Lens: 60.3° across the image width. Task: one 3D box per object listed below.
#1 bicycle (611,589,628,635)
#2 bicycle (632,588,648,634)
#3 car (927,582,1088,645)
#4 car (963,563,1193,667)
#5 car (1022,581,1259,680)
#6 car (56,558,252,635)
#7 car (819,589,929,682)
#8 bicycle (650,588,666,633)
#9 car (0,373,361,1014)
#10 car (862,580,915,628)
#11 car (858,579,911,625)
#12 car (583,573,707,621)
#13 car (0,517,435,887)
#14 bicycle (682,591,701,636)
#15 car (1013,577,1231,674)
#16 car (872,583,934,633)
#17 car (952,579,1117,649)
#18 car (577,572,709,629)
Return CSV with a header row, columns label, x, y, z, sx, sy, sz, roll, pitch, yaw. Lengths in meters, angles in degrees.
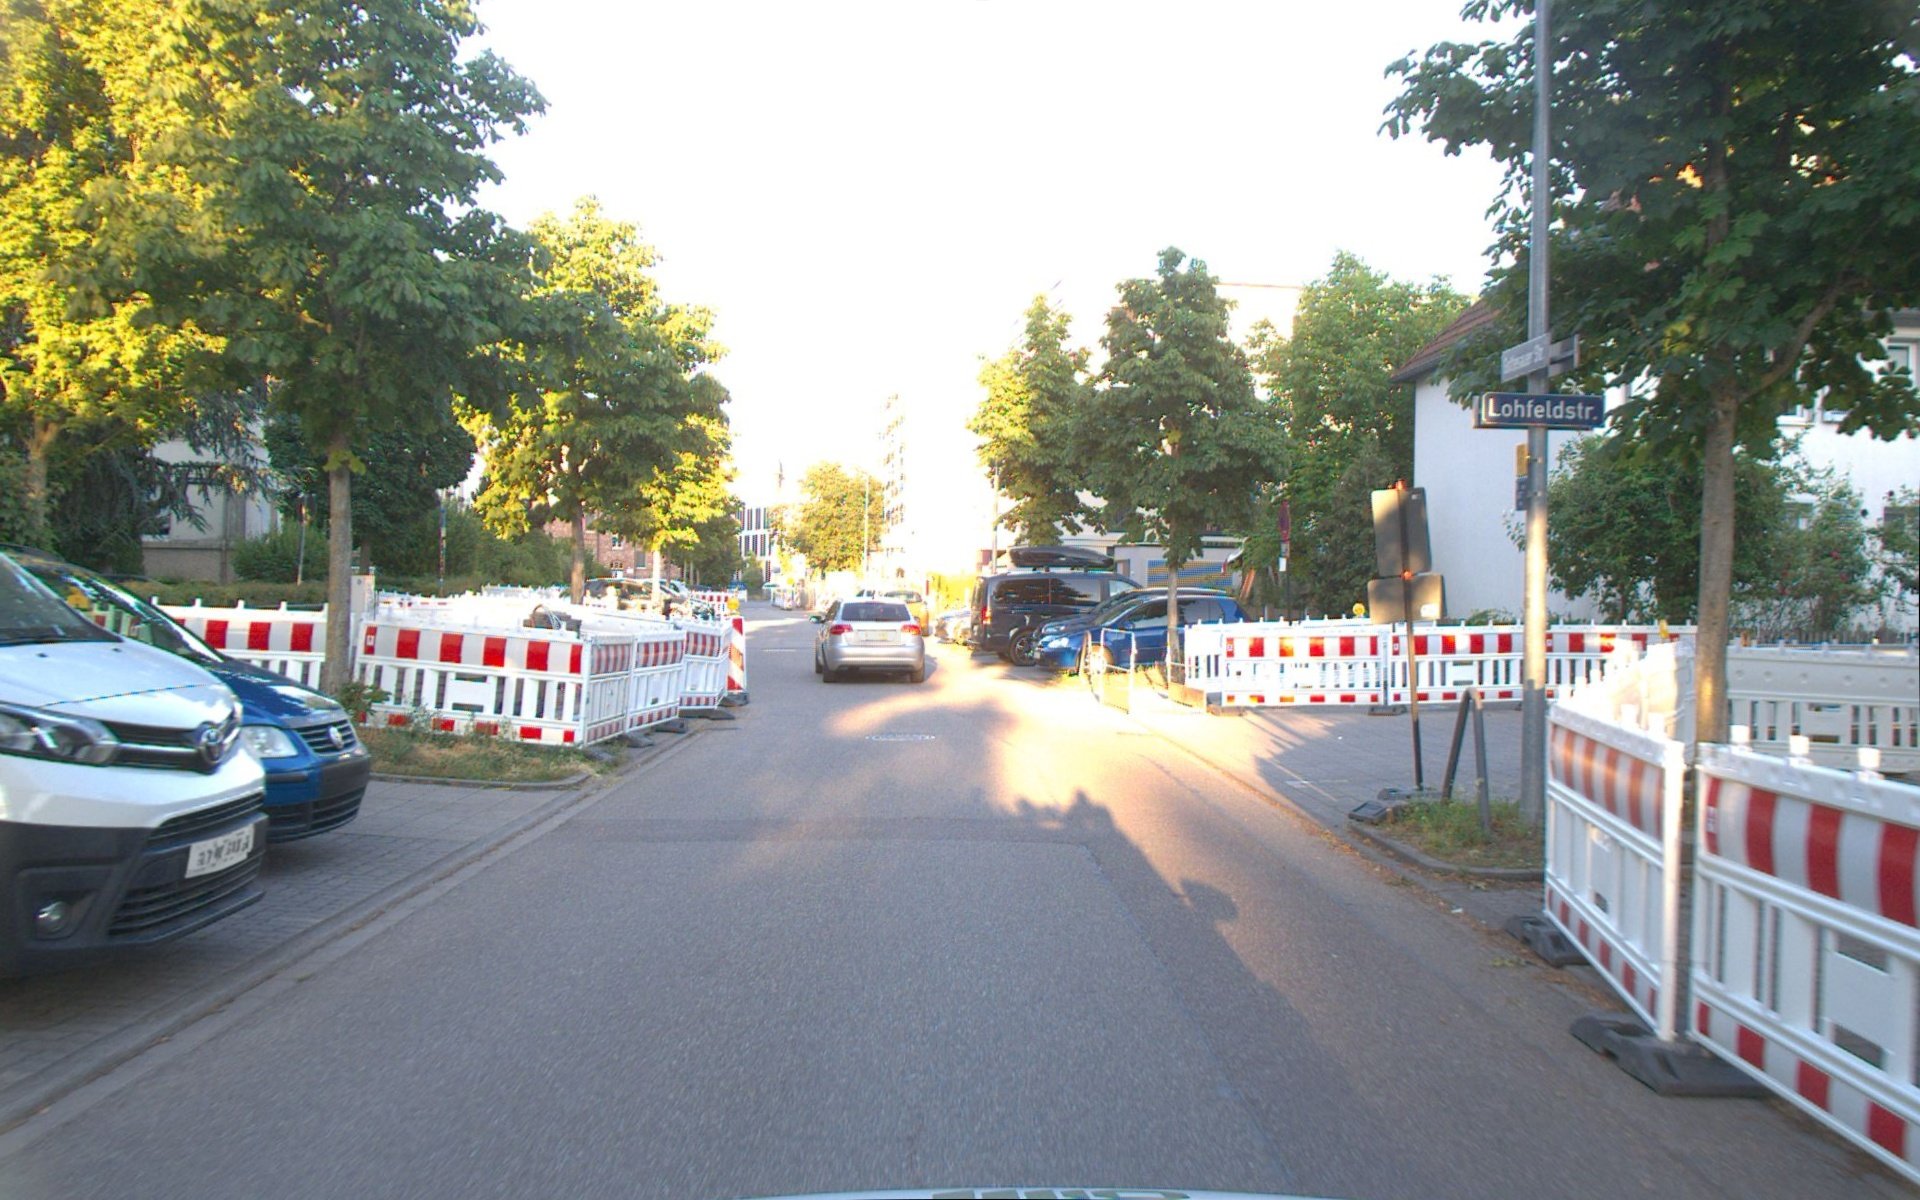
label,x,y,z,sx,sy,sz,roll,pitch,yaw
bicycle,-9.683,0.335,47.042,0.398,1.248,1.982,1,1,-10
bicycle,-9.108,0.297,47.117,0.398,1.248,1.982,1,1,-10
car,1.269,0.366,45.052,4.077,1.599,1.792,1,1,-13
car,2.465,0.308,35.205,4.474,2.058,2.096,1,0,-10
car,3.264,0.549,30.181,3.917,1.680,1.759,1,1,-13
car,-18.267,-0.090,37.637,3.640,1.617,1.757,1,1,-11
car,-1.567,0.569,29.005,1.772,1.514,3.996,0,0,-5
bicycle,-8.615,0.289,47.219,0.398,1.248,1.982,1,1,-10
car,-4.972,0.240,6.213,4.676,2.049,1.999,1,0,-3
car,-2.555,0.109,58.285,1.632,1.601,3.436,1,1,-6
car,-2.912,0.054,63.152,1.774,1.641,3.576,1,1,-6
car,-10.250,-0.093,54.073,3.914,1.506,1.996,1,0,-10
car,-5.076,0.469,8.922,3.908,1.783,1.798,1,0,-4
bicycle,-7.662,0.372,47.090,0.399,1.248,1.981,1,1,-13
car,3.181,0.490,32.896,3.914,1.799,1.996,1,1,-10
car,-1.865,0.227,52.766,1.697,1.509,3.553,1,1,-6
car,1.893,0.362,42.660,3.871,1.677,1.970,1,1,-13
car,-9.854,-0.005,51.647,3.914,1.653,1.996,1,1,-10
